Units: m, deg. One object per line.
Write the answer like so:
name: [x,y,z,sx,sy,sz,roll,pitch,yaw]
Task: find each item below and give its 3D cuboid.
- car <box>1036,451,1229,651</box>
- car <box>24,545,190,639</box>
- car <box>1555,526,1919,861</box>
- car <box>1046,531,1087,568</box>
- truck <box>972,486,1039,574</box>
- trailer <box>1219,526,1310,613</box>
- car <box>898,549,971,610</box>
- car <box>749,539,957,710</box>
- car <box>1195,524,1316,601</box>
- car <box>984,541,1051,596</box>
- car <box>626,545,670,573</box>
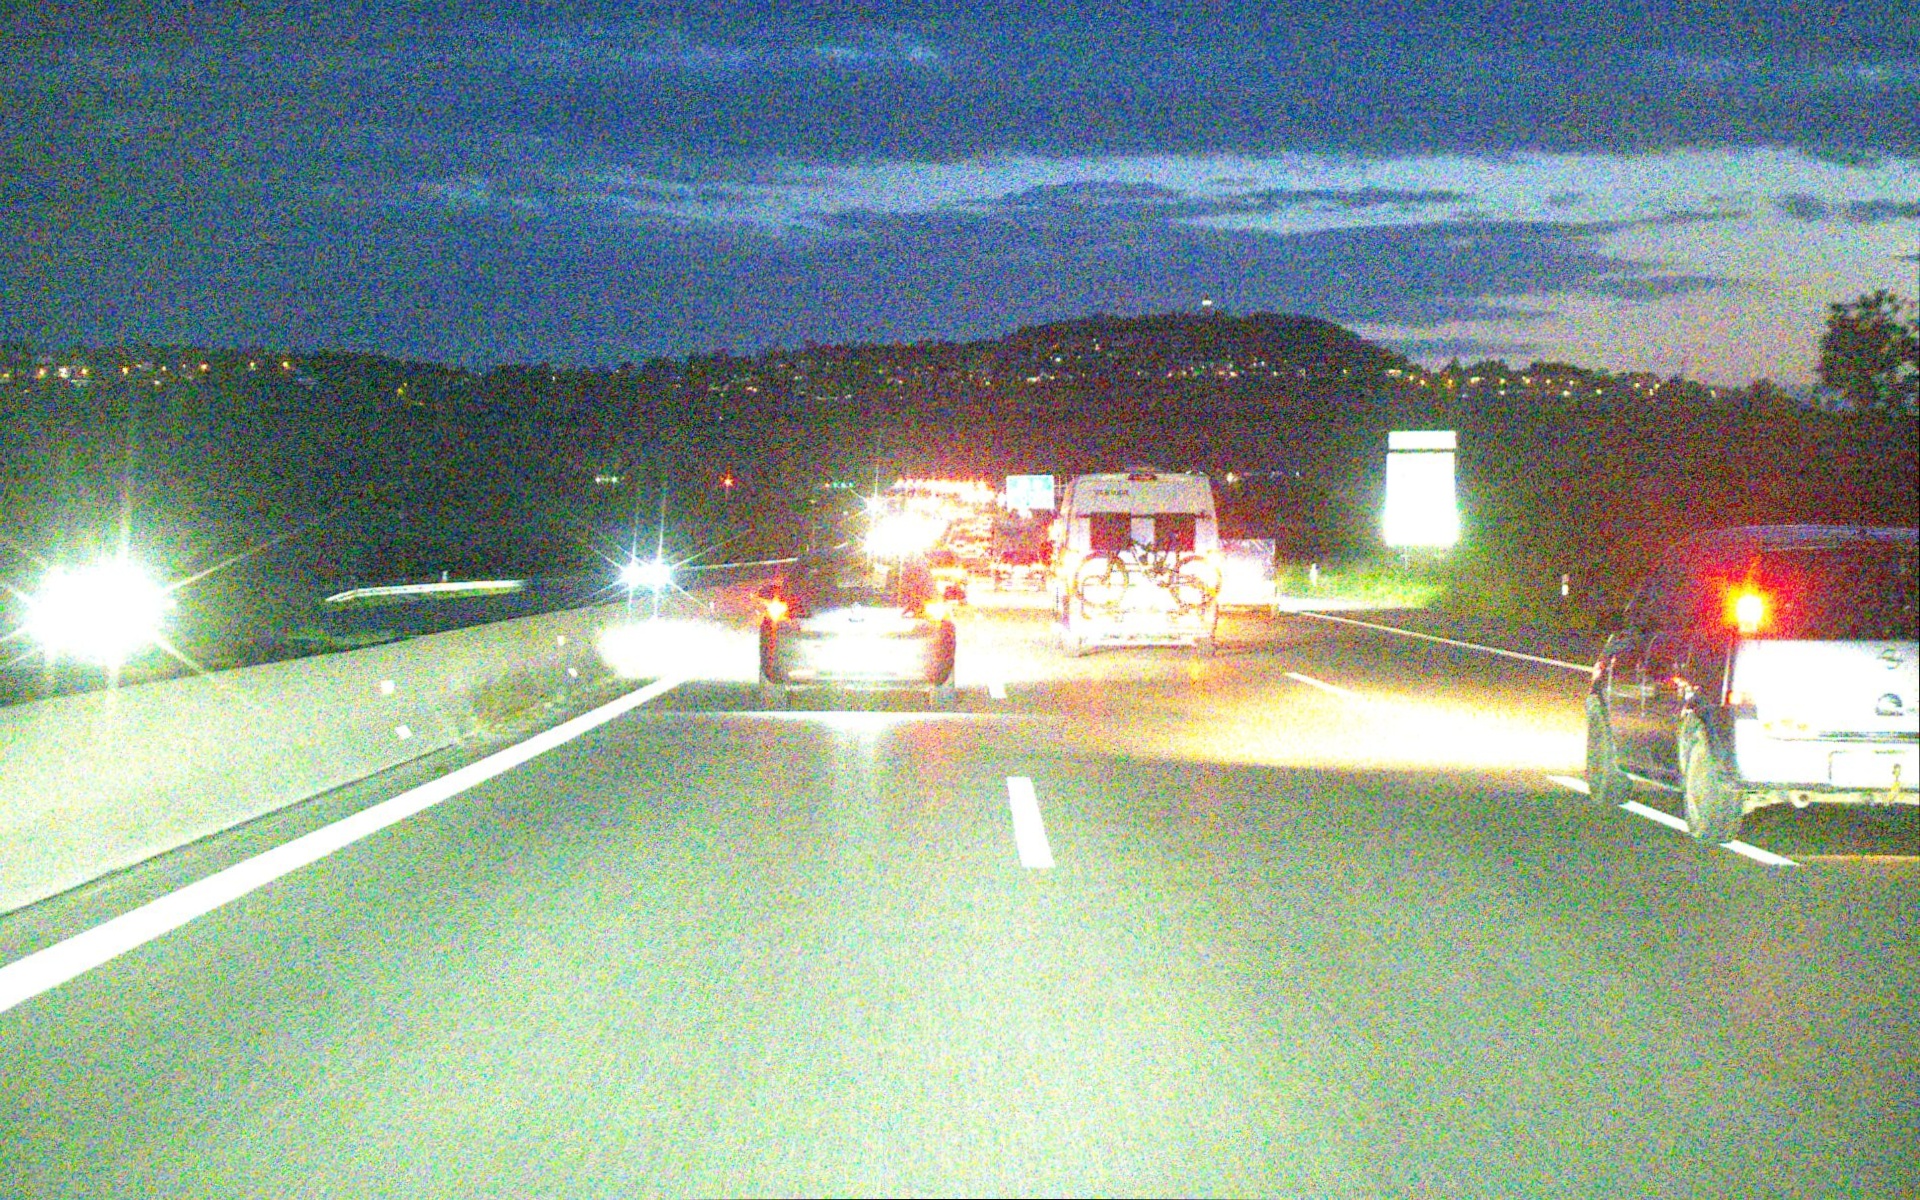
car: [2.272,-0.704,46.958,2.351,2.526,5.701,-1,1,1]
car: [-17.200,-0.196,69.574,2.045,1.714,4.775,-3,1,1]
car: [4.444,0.404,18.573,1.646,1.591,4.510,0,1,0]
car: [6.376,-3.037,206.096,2.351,2.068,4.723,-1,1,1]
truck: [2.072,-3.235,159.702,2.781,3.942,7.994,-1,1,-1]
trailer: [6.050,-0.623,68.422,1.566,1.687,2.821,-1,1,1]
car: [-0.618,-0.536,86.735,1.745,1.435,4.368,-1,1,1]
car: [-0.941,0.183,32.076,1.793,1.464,3.773,0,1,1]
car: [6.157,-0.810,72.077,2.163,1.558,4.723,0,1,1]
car: [2.073,-1.170,124.630,2.351,1.907,4.723,-1,1,1]
car: [-17.130,-2.282,188.918,1.993,1.414,4.984,-3,1,-1]
